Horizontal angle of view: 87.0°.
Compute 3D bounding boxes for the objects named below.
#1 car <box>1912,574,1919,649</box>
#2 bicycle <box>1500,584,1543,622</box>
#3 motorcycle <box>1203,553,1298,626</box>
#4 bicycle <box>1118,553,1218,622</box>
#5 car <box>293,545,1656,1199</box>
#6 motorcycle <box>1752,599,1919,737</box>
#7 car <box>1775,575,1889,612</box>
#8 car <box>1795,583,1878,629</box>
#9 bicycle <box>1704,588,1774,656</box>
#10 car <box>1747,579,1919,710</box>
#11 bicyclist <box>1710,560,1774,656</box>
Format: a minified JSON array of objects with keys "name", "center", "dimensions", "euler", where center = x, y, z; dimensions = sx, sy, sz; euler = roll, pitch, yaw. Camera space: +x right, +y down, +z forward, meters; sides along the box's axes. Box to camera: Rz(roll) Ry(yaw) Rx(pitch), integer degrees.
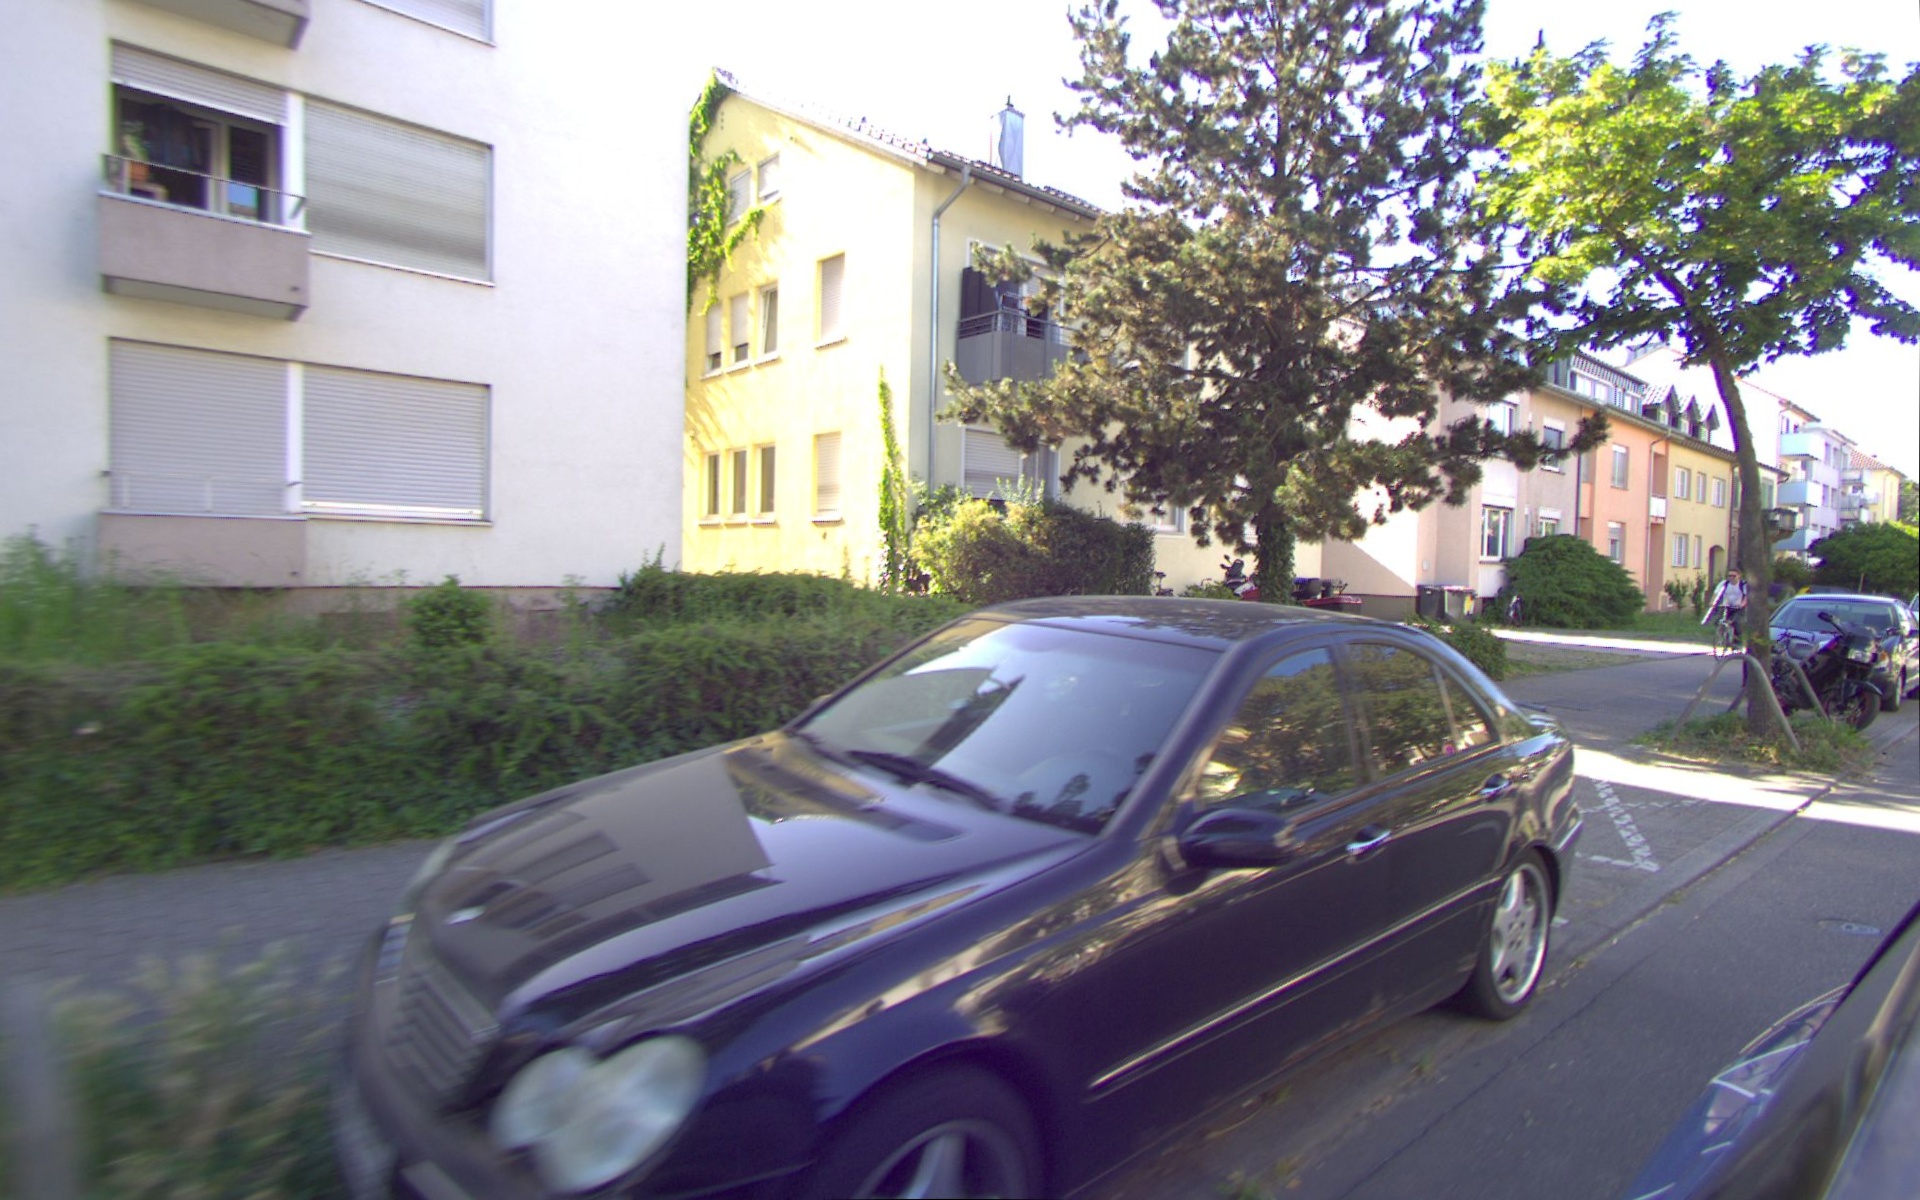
[{"name":"car","center":[23.806,0.296,23.744],"dimensions":[4.267,1.679,1.772],"euler":[0,3,-42]},{"name":"bicycle","center":[15.871,0.071,28.587],"dimensions":[1.713,1.004,0.456],"euler":[-2,5,-41]},{"name":"motorcycle","center":[5.954,-0.217,20.655],"dimensions":[2.383,1.392,0.637],"euler":[0,3,-41]},{"name":"bicycle","center":[4.219,-0.251,20.402],"dimensions":[2.383,1.319,0.599],"euler":[0,3,-41]},{"name":"car","center":[0.567,0.622,3.250],"dimensions":[4.375,1.412,1.590],"euler":[0,4,-40]},{"name":"motorcycle","center":[9.926,0.693,11.522],"dimensions":[0.692,1.287,2.415],"euler":[4,3,21]},{"name":"car","center":[43.601,-0.337,50.646],"dimensions":[1.799,1.458,3.998],"euler":[0,6,-40]},{"name":"car","center":[29.759,0.168,34.334],"dimensions":[3.653,1.372,1.536],"euler":[0,5,-41]},{"name":"bicycle","center":[15.443,0.406,20.056],"dimensions":[1.790,1.262,0.699],"euler":[0,3,-41]},{"name":"car","center":[12.454,0.526,14.043],"dimensions":[3.583,1.517,1.624],"euler":[0,3,-39]},{"name":"bicyclist","center":[15.459,0.139,20.011],"dimensions":[0.998,1.815,0.725],"euler":[0,3,-41]}]
